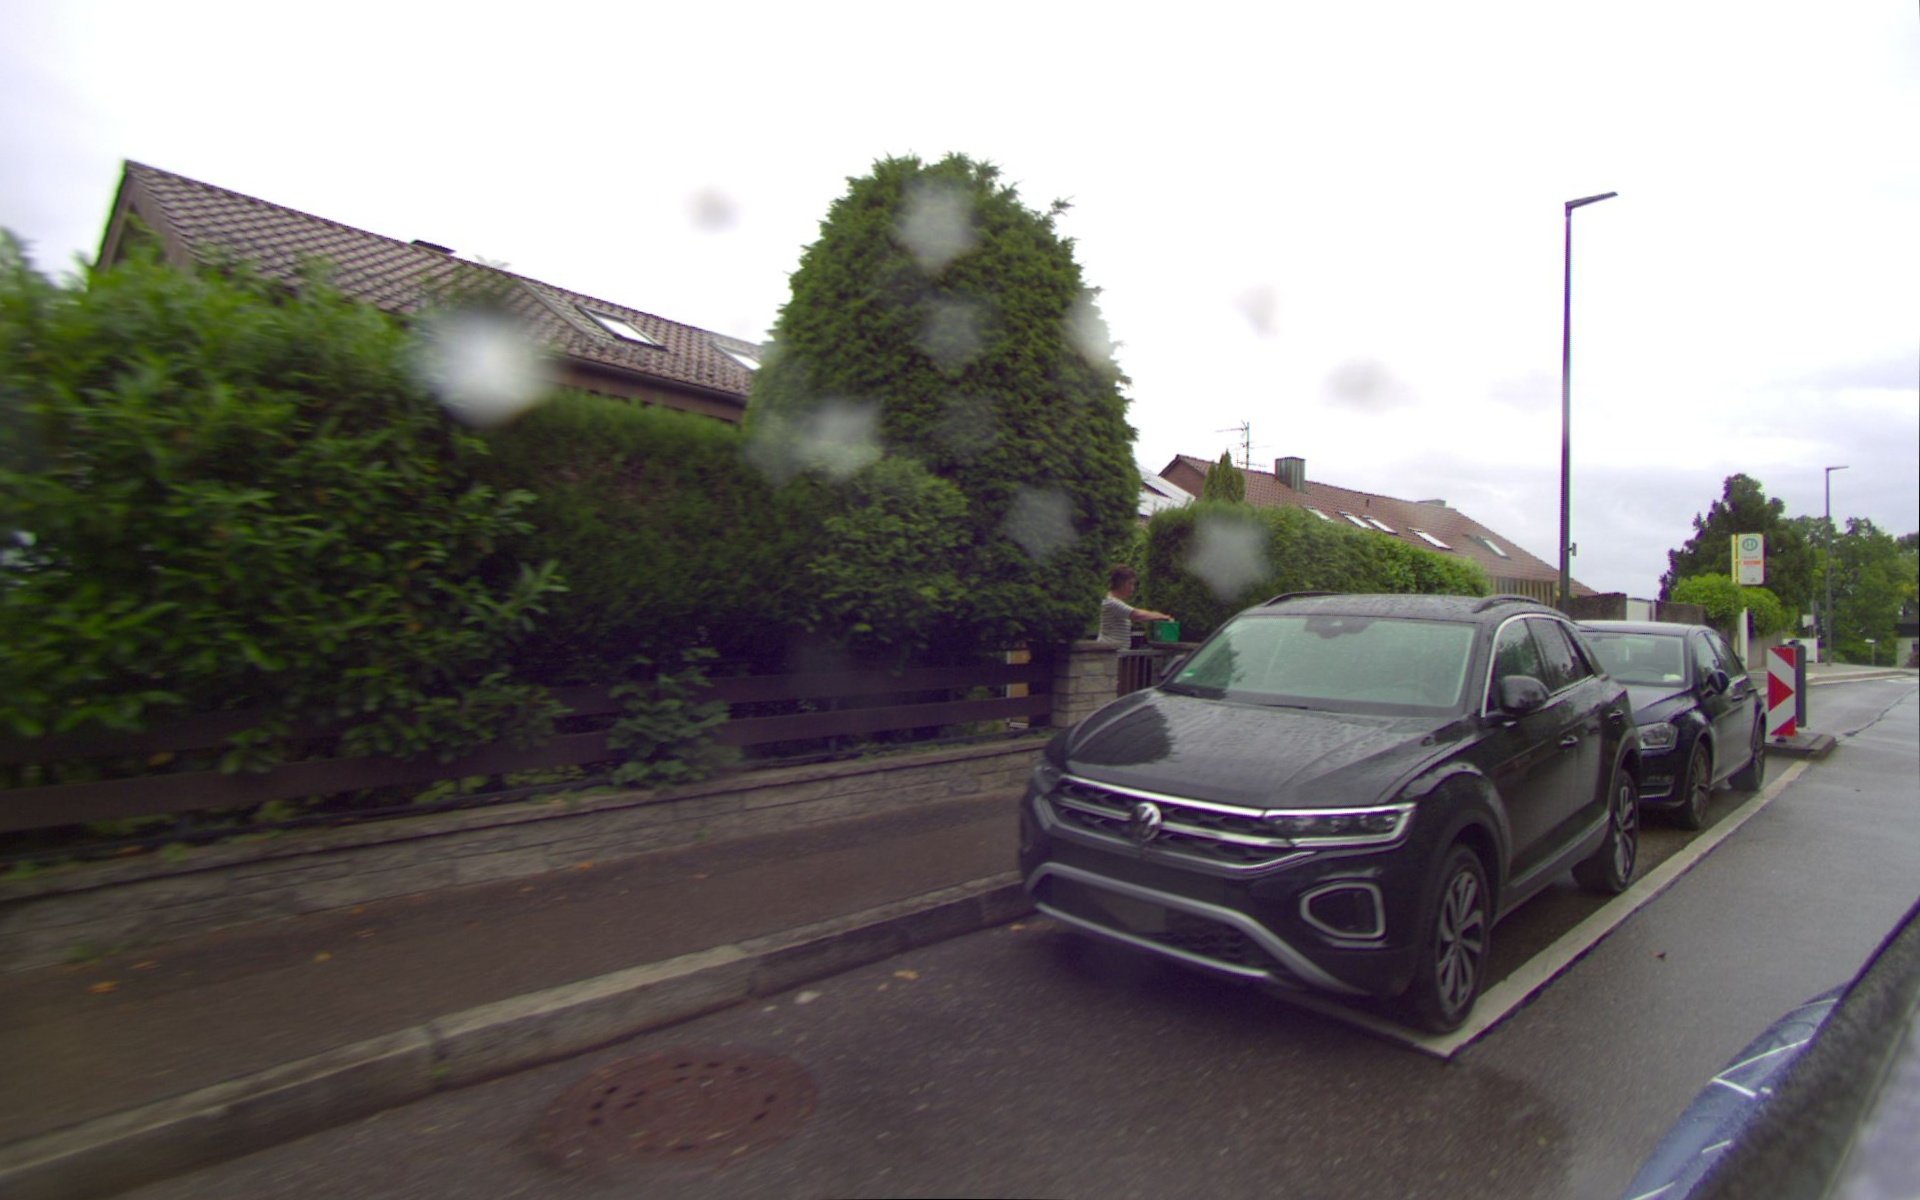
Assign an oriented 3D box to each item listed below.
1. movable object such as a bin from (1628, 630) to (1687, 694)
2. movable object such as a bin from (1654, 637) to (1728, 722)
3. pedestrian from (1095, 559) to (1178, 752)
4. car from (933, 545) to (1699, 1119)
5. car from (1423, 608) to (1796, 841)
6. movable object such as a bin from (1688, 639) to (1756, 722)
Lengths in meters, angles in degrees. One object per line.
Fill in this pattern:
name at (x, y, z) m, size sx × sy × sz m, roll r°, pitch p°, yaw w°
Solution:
movable object such as a bin at (12.950, 1.140, 18.780) m, size 0.589 × 1.102 × 0.740 m, roll 2°, pitch 0°, yaw -41°
movable object such as a bin at (9.909, 1.062, 13.720) m, size 0.729 × 1.092 × 0.650 m, roll -1°, pitch -2°, yaw 45°
pedestrian at (1.580, 0.482, 9.039) m, size 0.536 × 1.654 × 0.498 m, roll -1°, pitch -2°, yaw 44°
car at (2.119, 0.691, 5.078) m, size 4.405 × 1.612 × 1.876 m, roll 2°, pitch -1°, yaw -44°
car at (5.660, 0.850, 8.581) m, size 4.229 × 1.481 × 1.757 m, roll 2°, pitch -2°, yaw -44°
movable object such as a bin at (10.829, 1.122, 14.386) m, size 0.715 × 1.110 × 0.646 m, roll -1°, pitch -2°, yaw 42°
